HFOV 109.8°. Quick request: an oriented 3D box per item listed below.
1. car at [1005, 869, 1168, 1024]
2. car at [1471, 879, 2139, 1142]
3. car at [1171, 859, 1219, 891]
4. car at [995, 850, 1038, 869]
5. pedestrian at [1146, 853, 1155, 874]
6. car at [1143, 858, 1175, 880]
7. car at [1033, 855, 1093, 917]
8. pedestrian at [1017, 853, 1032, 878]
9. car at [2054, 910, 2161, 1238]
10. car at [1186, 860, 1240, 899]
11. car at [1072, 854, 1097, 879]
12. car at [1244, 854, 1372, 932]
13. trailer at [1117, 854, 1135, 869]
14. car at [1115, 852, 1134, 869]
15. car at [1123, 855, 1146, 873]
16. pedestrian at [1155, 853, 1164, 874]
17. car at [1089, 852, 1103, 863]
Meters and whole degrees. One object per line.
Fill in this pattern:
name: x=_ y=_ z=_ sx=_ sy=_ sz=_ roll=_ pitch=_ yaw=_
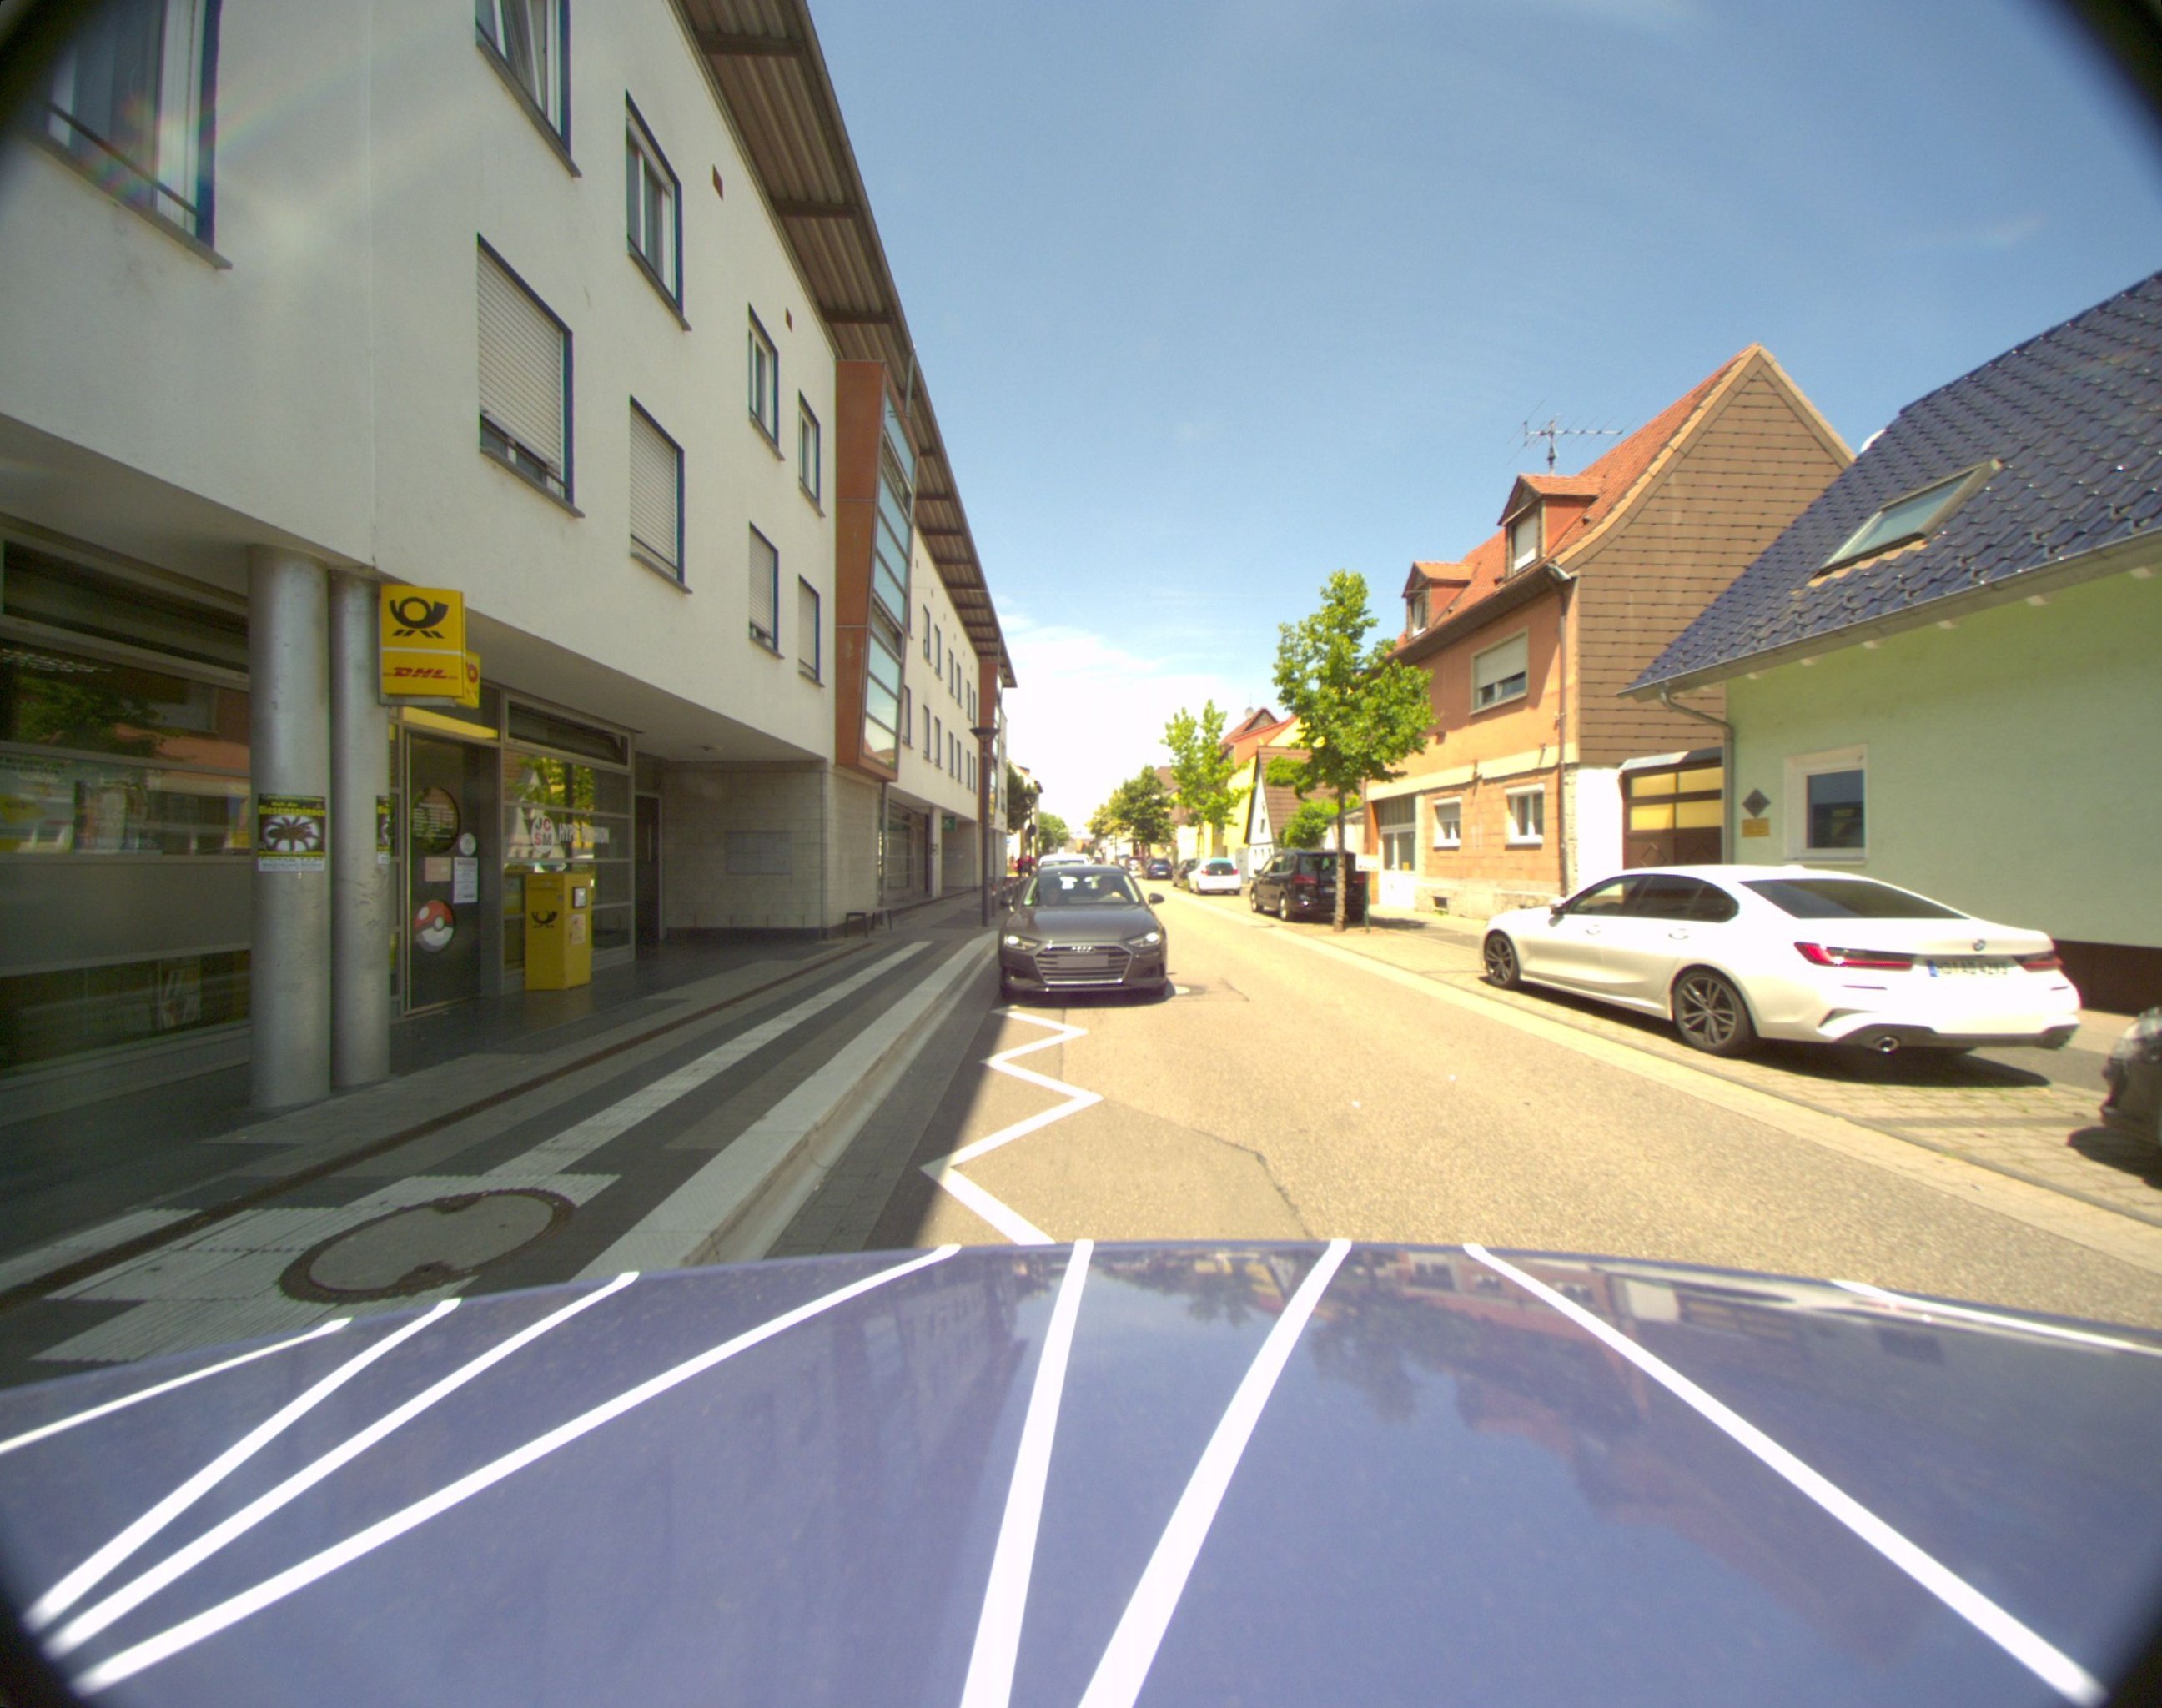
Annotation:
car: x=0.027 y=0.950 z=9.463 sx=1.581 sy=1.424 sz=4.064 roll=0 pitch=0 yaw=-1
car: x=5.547 y=1.022 z=6.842 sx=1.724 sy=1.428 sz=4.459 roll=-1 pitch=0 yaw=-1
car: x=5.483 y=0.986 z=36.917 sx=1.649 sy=1.422 sz=4.098 roll=1 pitch=0 yaw=0
car: x=-6.625 y=0.526 z=78.185 sx=4.204 sy=1.849 sz=2.000 roll=1 pitch=0 yaw=-1
pedestrian: x=5.310 y=0.723 z=58.035 sx=0.631 sy=1.592 sz=0.528 roll=0 pitch=1 yaw=0
car: x=5.063 y=0.957 z=49.840 sx=1.660 sy=1.399 sz=4.157 roll=0 pitch=0 yaw=0
car: x=-0.505 y=0.843 z=21.974 sx=1.581 sy=1.620 sz=4.064 roll=0 pitch=0 yaw=-1
pedestrian: x=-3.766 y=0.750 z=50.806 sx=0.826 sy=1.579 sz=0.919 roll=3 pitch=0 yaw=0
car: x=5.586 y=0.987 z=1.461 sx=1.665 sy=1.428 sz=4.538 roll=0 pitch=0 yaw=1
car: x=5.273 y=0.982 z=30.712 sx=1.558 sy=1.422 sz=3.409 roll=1 pitch=0 yaw=0
car: x=0.204 y=0.787 z=51.378 sx=1.581 sy=1.620 sz=4.064 roll=0 pitch=0 yaw=-1
car: x=5.502 y=0.865 z=19.016 sx=1.780 sy=1.716 sz=4.519 roll=0 pitch=0 yaw=-1
trailer: x=4.841 y=0.783 z=81.806 sx=1.493 sy=1.571 sz=3.882 roll=-3 pitch=0 yaw=-3
car: x=4.865 y=0.731 z=86.105 sx=1.695 sy=1.742 sz=3.999 roll=-2 pitch=0 yaw=-2
car: x=4.879 y=0.852 z=69.234 sx=1.753 sy=1.566 sz=4.157 roll=0 pitch=0 yaw=0
pedestrian: x=6.044 y=0.718 z=58.700 sx=0.631 sy=1.592 sz=0.528 roll=0 pitch=1 yaw=0
car: x=2.058 y=0.466 z=103.842 sx=1.693 sy=1.464 sz=3.999 roll=4 pitch=0 yaw=-1
